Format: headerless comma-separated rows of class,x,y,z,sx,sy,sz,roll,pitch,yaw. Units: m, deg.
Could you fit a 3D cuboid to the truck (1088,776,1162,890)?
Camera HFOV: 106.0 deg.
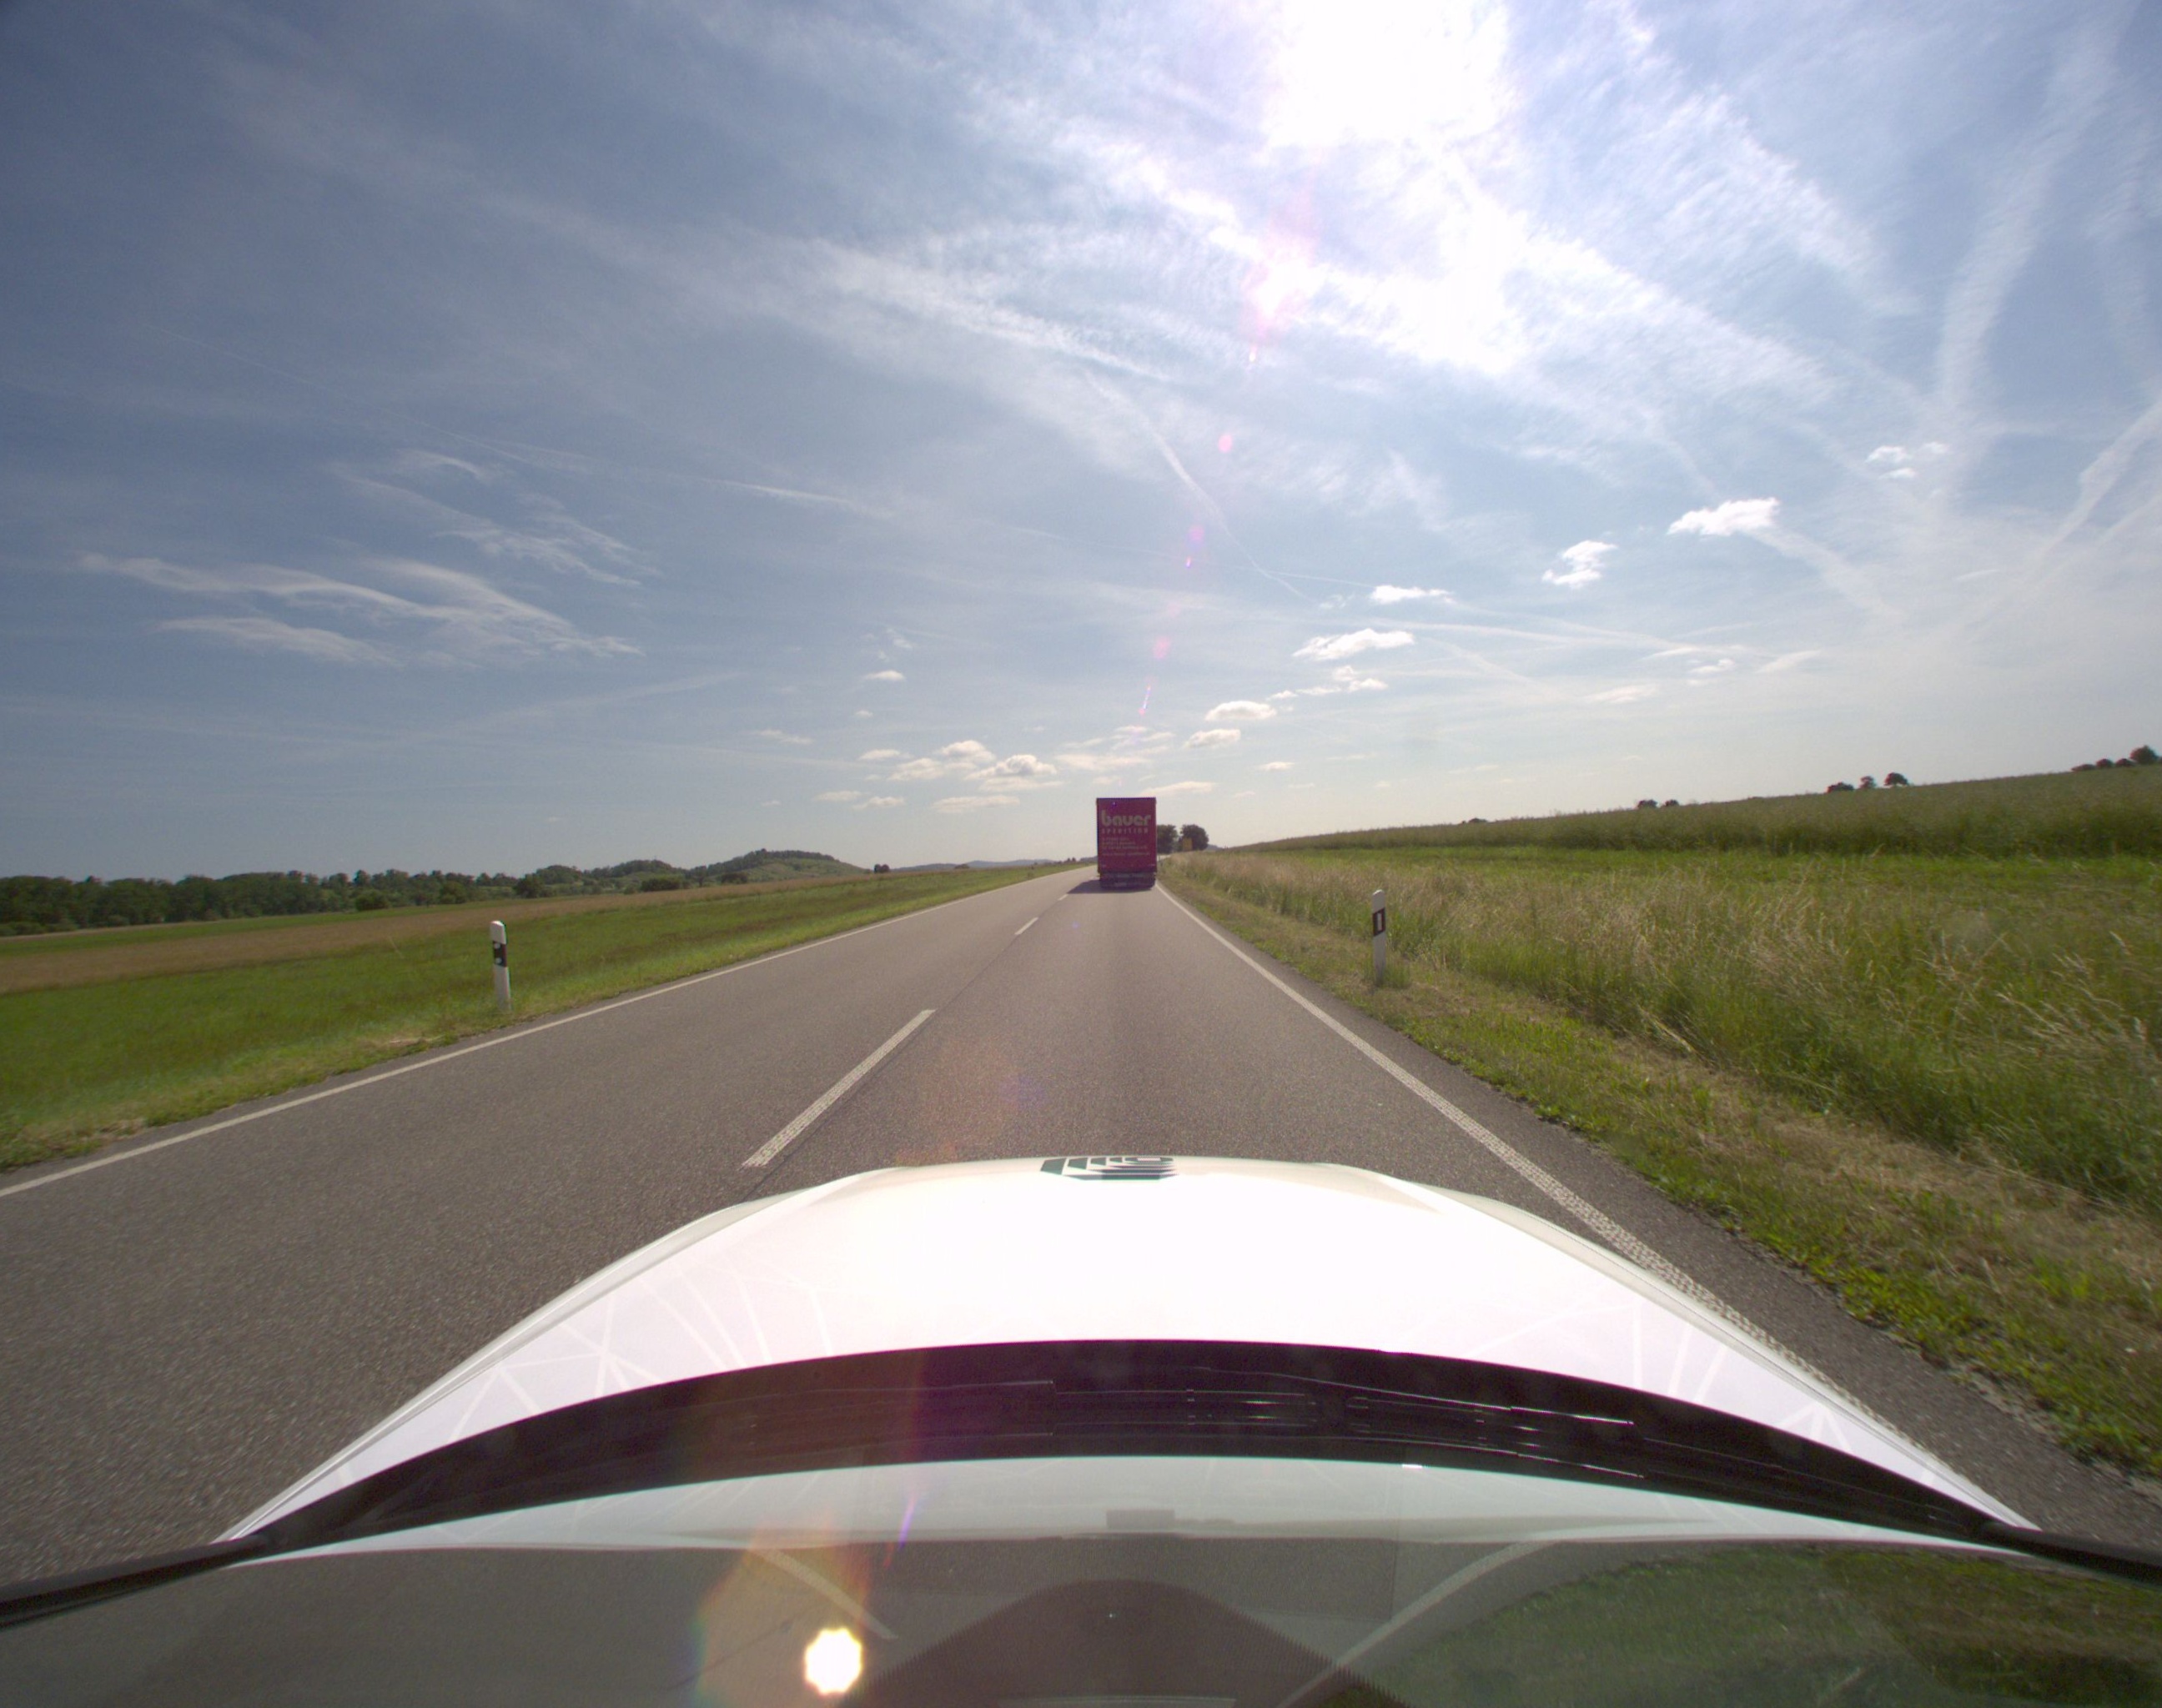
truck,2.158,-0.903,38.817,2.962,4.713,9.375,-2,0,4
